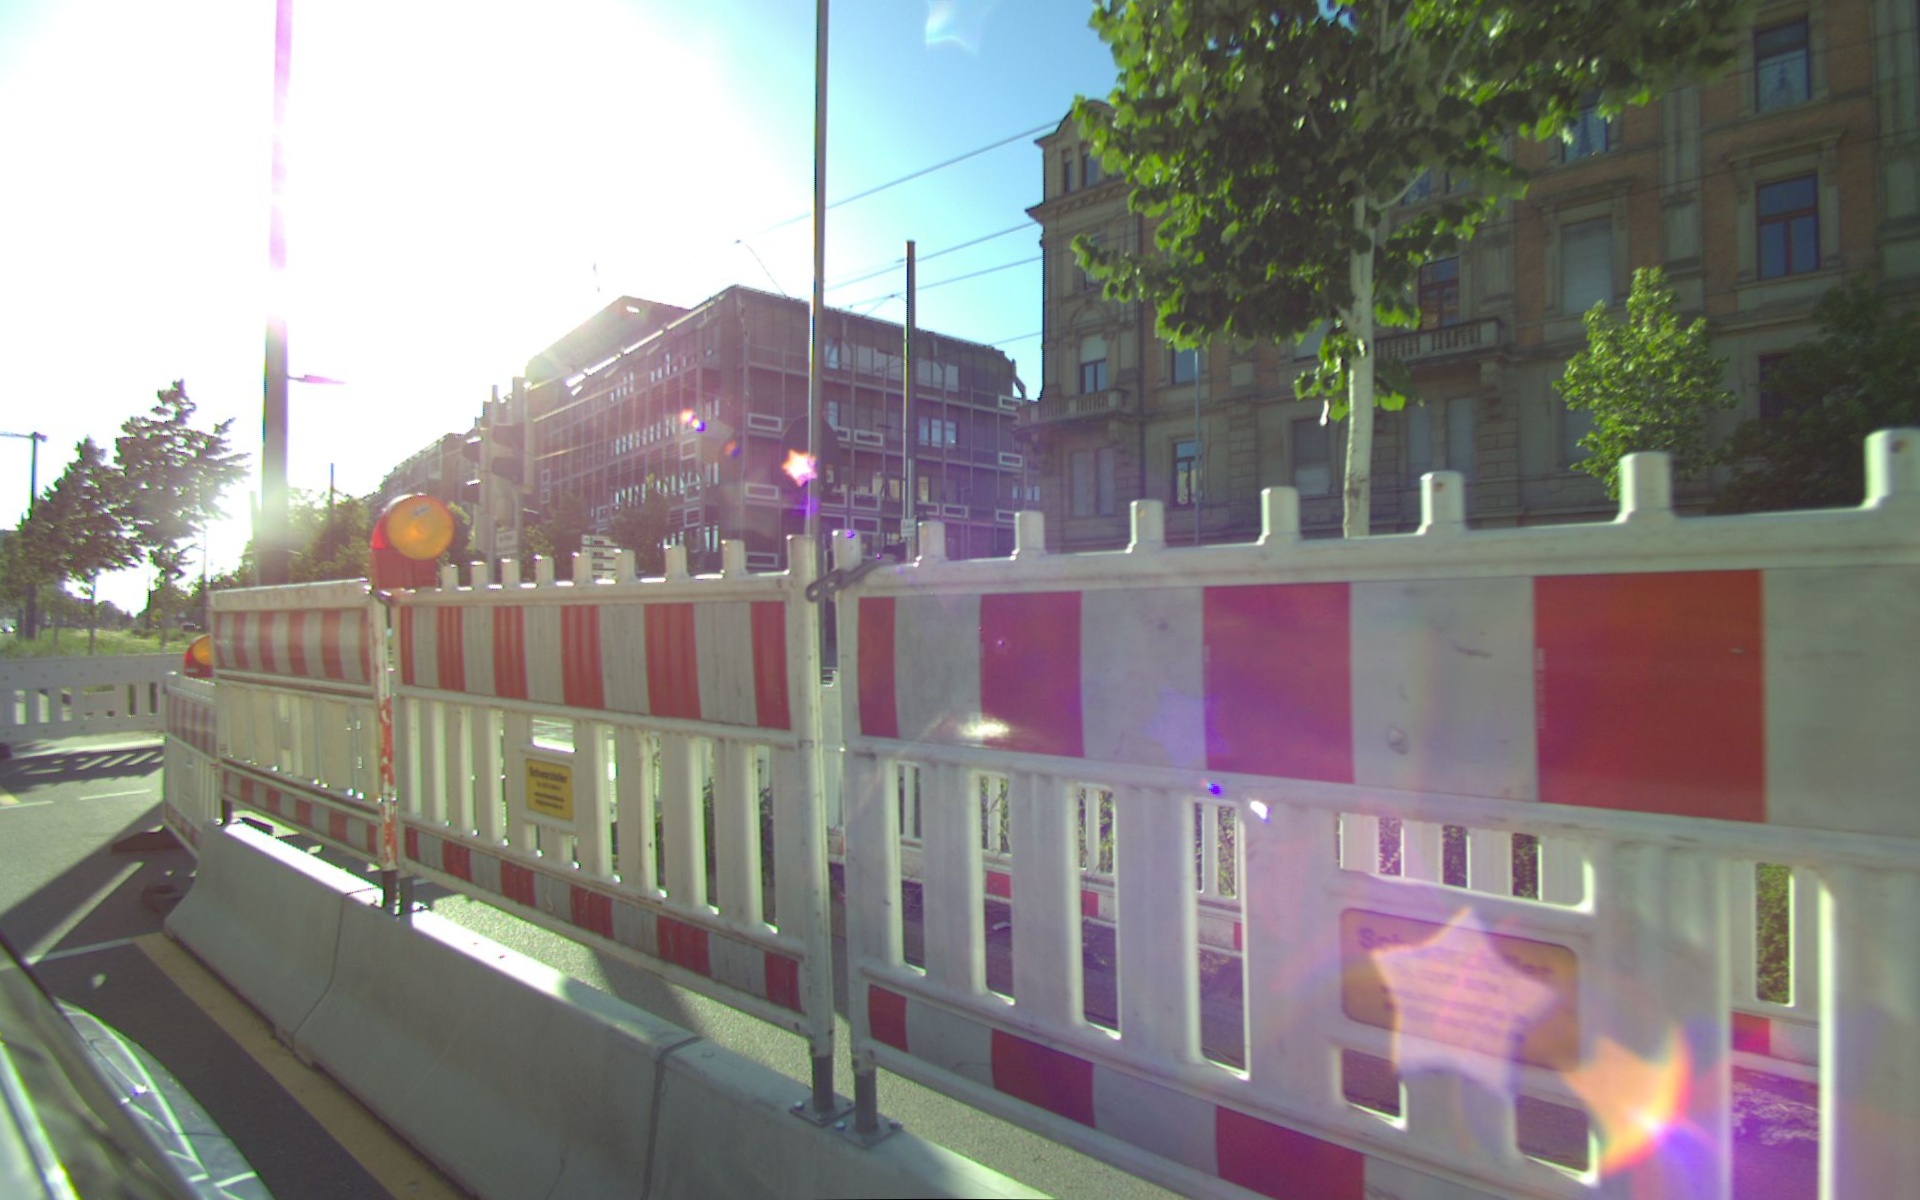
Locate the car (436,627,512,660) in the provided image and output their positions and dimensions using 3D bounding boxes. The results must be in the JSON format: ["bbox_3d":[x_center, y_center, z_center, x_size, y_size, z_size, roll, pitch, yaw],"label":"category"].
[{"bbox_3d":[-22.883,2.018,47.630,4.069,1.431,1.833,-2,-2,42],"label":"car"}]

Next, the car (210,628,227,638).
[{"bbox_3d":[-109.474,4.849,149.418,1.607,1.507,3.785,2,-3,-41],"label":"car"}]

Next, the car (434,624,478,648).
[{"bbox_3d":[-31.842,2.233,63.883,1.604,1.452,3.824,0,-1,-41],"label":"car"}]

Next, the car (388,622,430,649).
[{"bbox_3d":[-38.865,2.486,71.309,1.729,1.785,4.337,0,-2,-41],"label":"car"}]

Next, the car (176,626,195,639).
[{"bbox_3d":[-107.782,4.501,140.877,1.707,1.760,4.125,1,-2,-43],"label":"car"}]

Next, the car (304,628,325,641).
[{"bbox_3d":[-80.651,4.314,126.426,1.701,1.555,3.636,-1,-1,-41],"label":"car"}]

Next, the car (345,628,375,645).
[{"bbox_3d":[-51.827,3.133,87.392,1.694,1.397,4.048,1,-2,-38],"label":"car"}]

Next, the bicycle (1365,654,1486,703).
[{"bbox_3d":[8.998,1.504,19.636,2.031,0.864,0.630,-1,-2,43],"label":"bicycle"}]

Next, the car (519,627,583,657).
[{"bbox_3d":[-21.688,2.173,53.595,3.902,1.472,1.710,-2,0,45],"label":"car"}]

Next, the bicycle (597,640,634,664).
[{"bbox_3d":[-14.634,2.207,43.014,1.827,0.985,0.687,-1,-2,42],"label":"bicycle"}]

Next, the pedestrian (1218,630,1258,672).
[{"bbox_3d":[8.310,1.516,30.273,0.929,1.217,0.683,-1,-2,42],"label":"pedestrian"}]

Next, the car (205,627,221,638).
[{"bbox_3d":[-119.828,5.203,162.410,1.837,1.694,3.786,2,-3,-39],"label":"car"}]

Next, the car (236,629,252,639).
[{"bbox_3d":[-107.393,5.107,151.781,1.607,1.507,4.424,2,-3,-39],"label":"car"}]

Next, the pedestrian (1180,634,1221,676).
[{"bbox_3d":[7.268,1.650,30.601,0.929,1.217,0.782,-1,-2,42],"label":"pedestrian"}]

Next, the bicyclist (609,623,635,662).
[{"bbox_3d":[-14.408,1.795,43.130,0.882,1.670,0.687,-1,-2,42],"label":"bicyclist"}]

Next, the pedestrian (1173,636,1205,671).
[{"bbox_3d":[7.263,1.690,32.071,0.736,1.067,0.683,-1,-2,42],"label":"pedestrian"}]

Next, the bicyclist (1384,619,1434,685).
[{"bbox_3d":[8.799,1.006,19.837,0.738,1.249,0.630,-2,-2,42],"label":"bicyclist"}]

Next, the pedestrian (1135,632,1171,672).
[{"bbox_3d":[6.104,1.634,32.021,0.929,1.256,0.683,-1,-2,42],"label":"pedestrian"}]

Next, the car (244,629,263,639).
[{"bbox_3d":[-100.644,4.895,144.159,1.695,1.398,4.045,1,-2,-41],"label":"car"}]

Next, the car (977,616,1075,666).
[{"bbox_3d":[2.748,1.667,41.380,1.895,1.918,4.468,-1,-2,37],"label":"car"}]

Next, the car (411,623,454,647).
[{"bbox_3d":[-35.265,2.314,67.650,1.716,1.548,3.889,0,-2,-41],"label":"car"}]
